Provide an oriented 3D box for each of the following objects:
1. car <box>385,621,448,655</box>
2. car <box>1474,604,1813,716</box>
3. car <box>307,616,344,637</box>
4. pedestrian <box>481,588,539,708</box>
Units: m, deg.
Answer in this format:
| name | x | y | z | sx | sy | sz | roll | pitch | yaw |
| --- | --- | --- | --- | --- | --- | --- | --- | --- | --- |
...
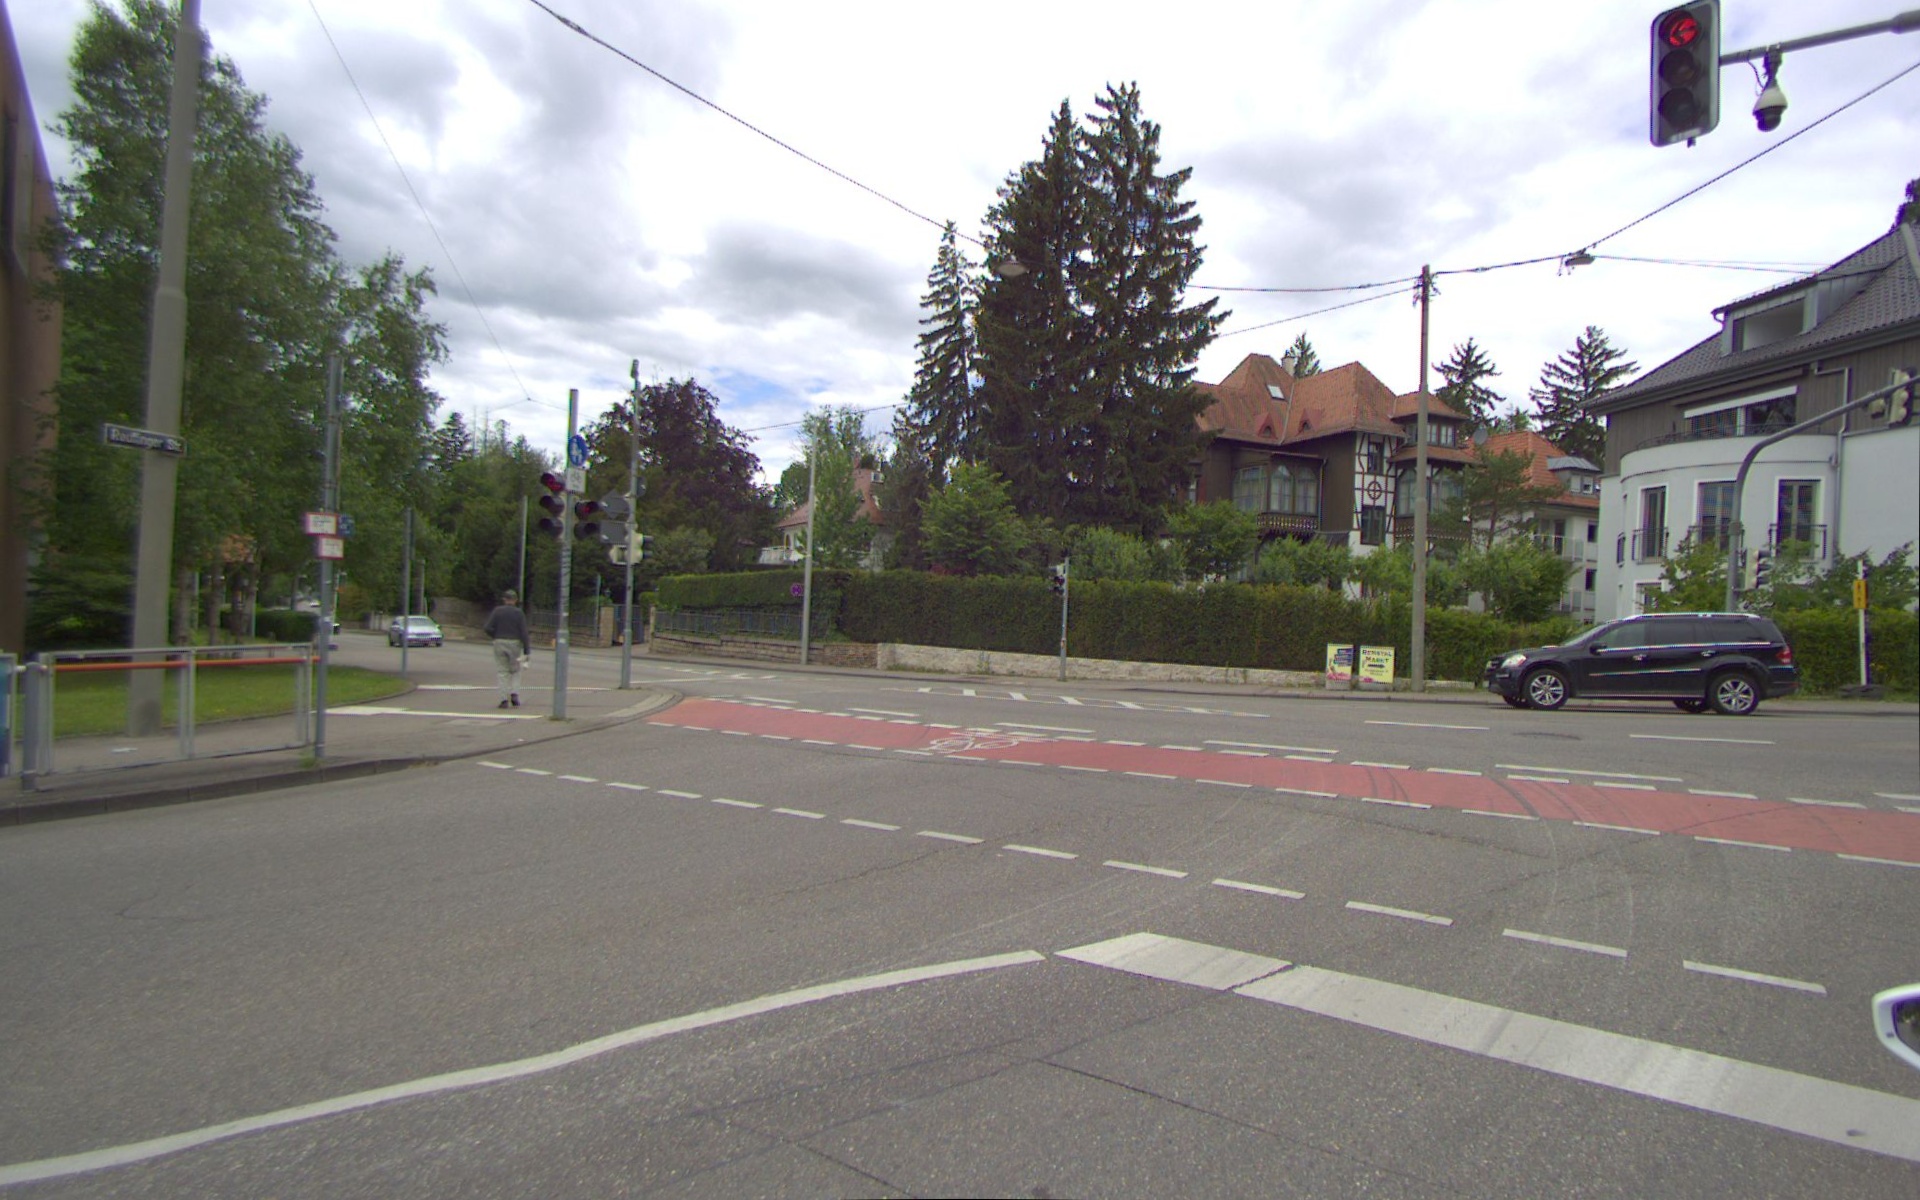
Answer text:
| name | x | y | z | sx | sy | sz | roll | pitch | yaw |
| --- | --- | --- | --- | --- | --- | --- | --- | --- | --- |
| car | -25.525 | 1.748 | 47.100 | 1.696 | 1.432 | 4.372 | 1 | 0 | -41 |
| car | 12.899 | 1.102 | 19.351 | 5.038 | 1.905 | 1.920 | 1 | -2 | 15 |
| car | -46.974 | 1.959 | 74.354 | 1.816 | 1.556 | 3.955 | 2 | -2 | -39 |
| pedestrian | -6.403 | 0.668 | 14.326 | 0.673 | 1.655 | 0.737 | 0 | -1 | -19 |
